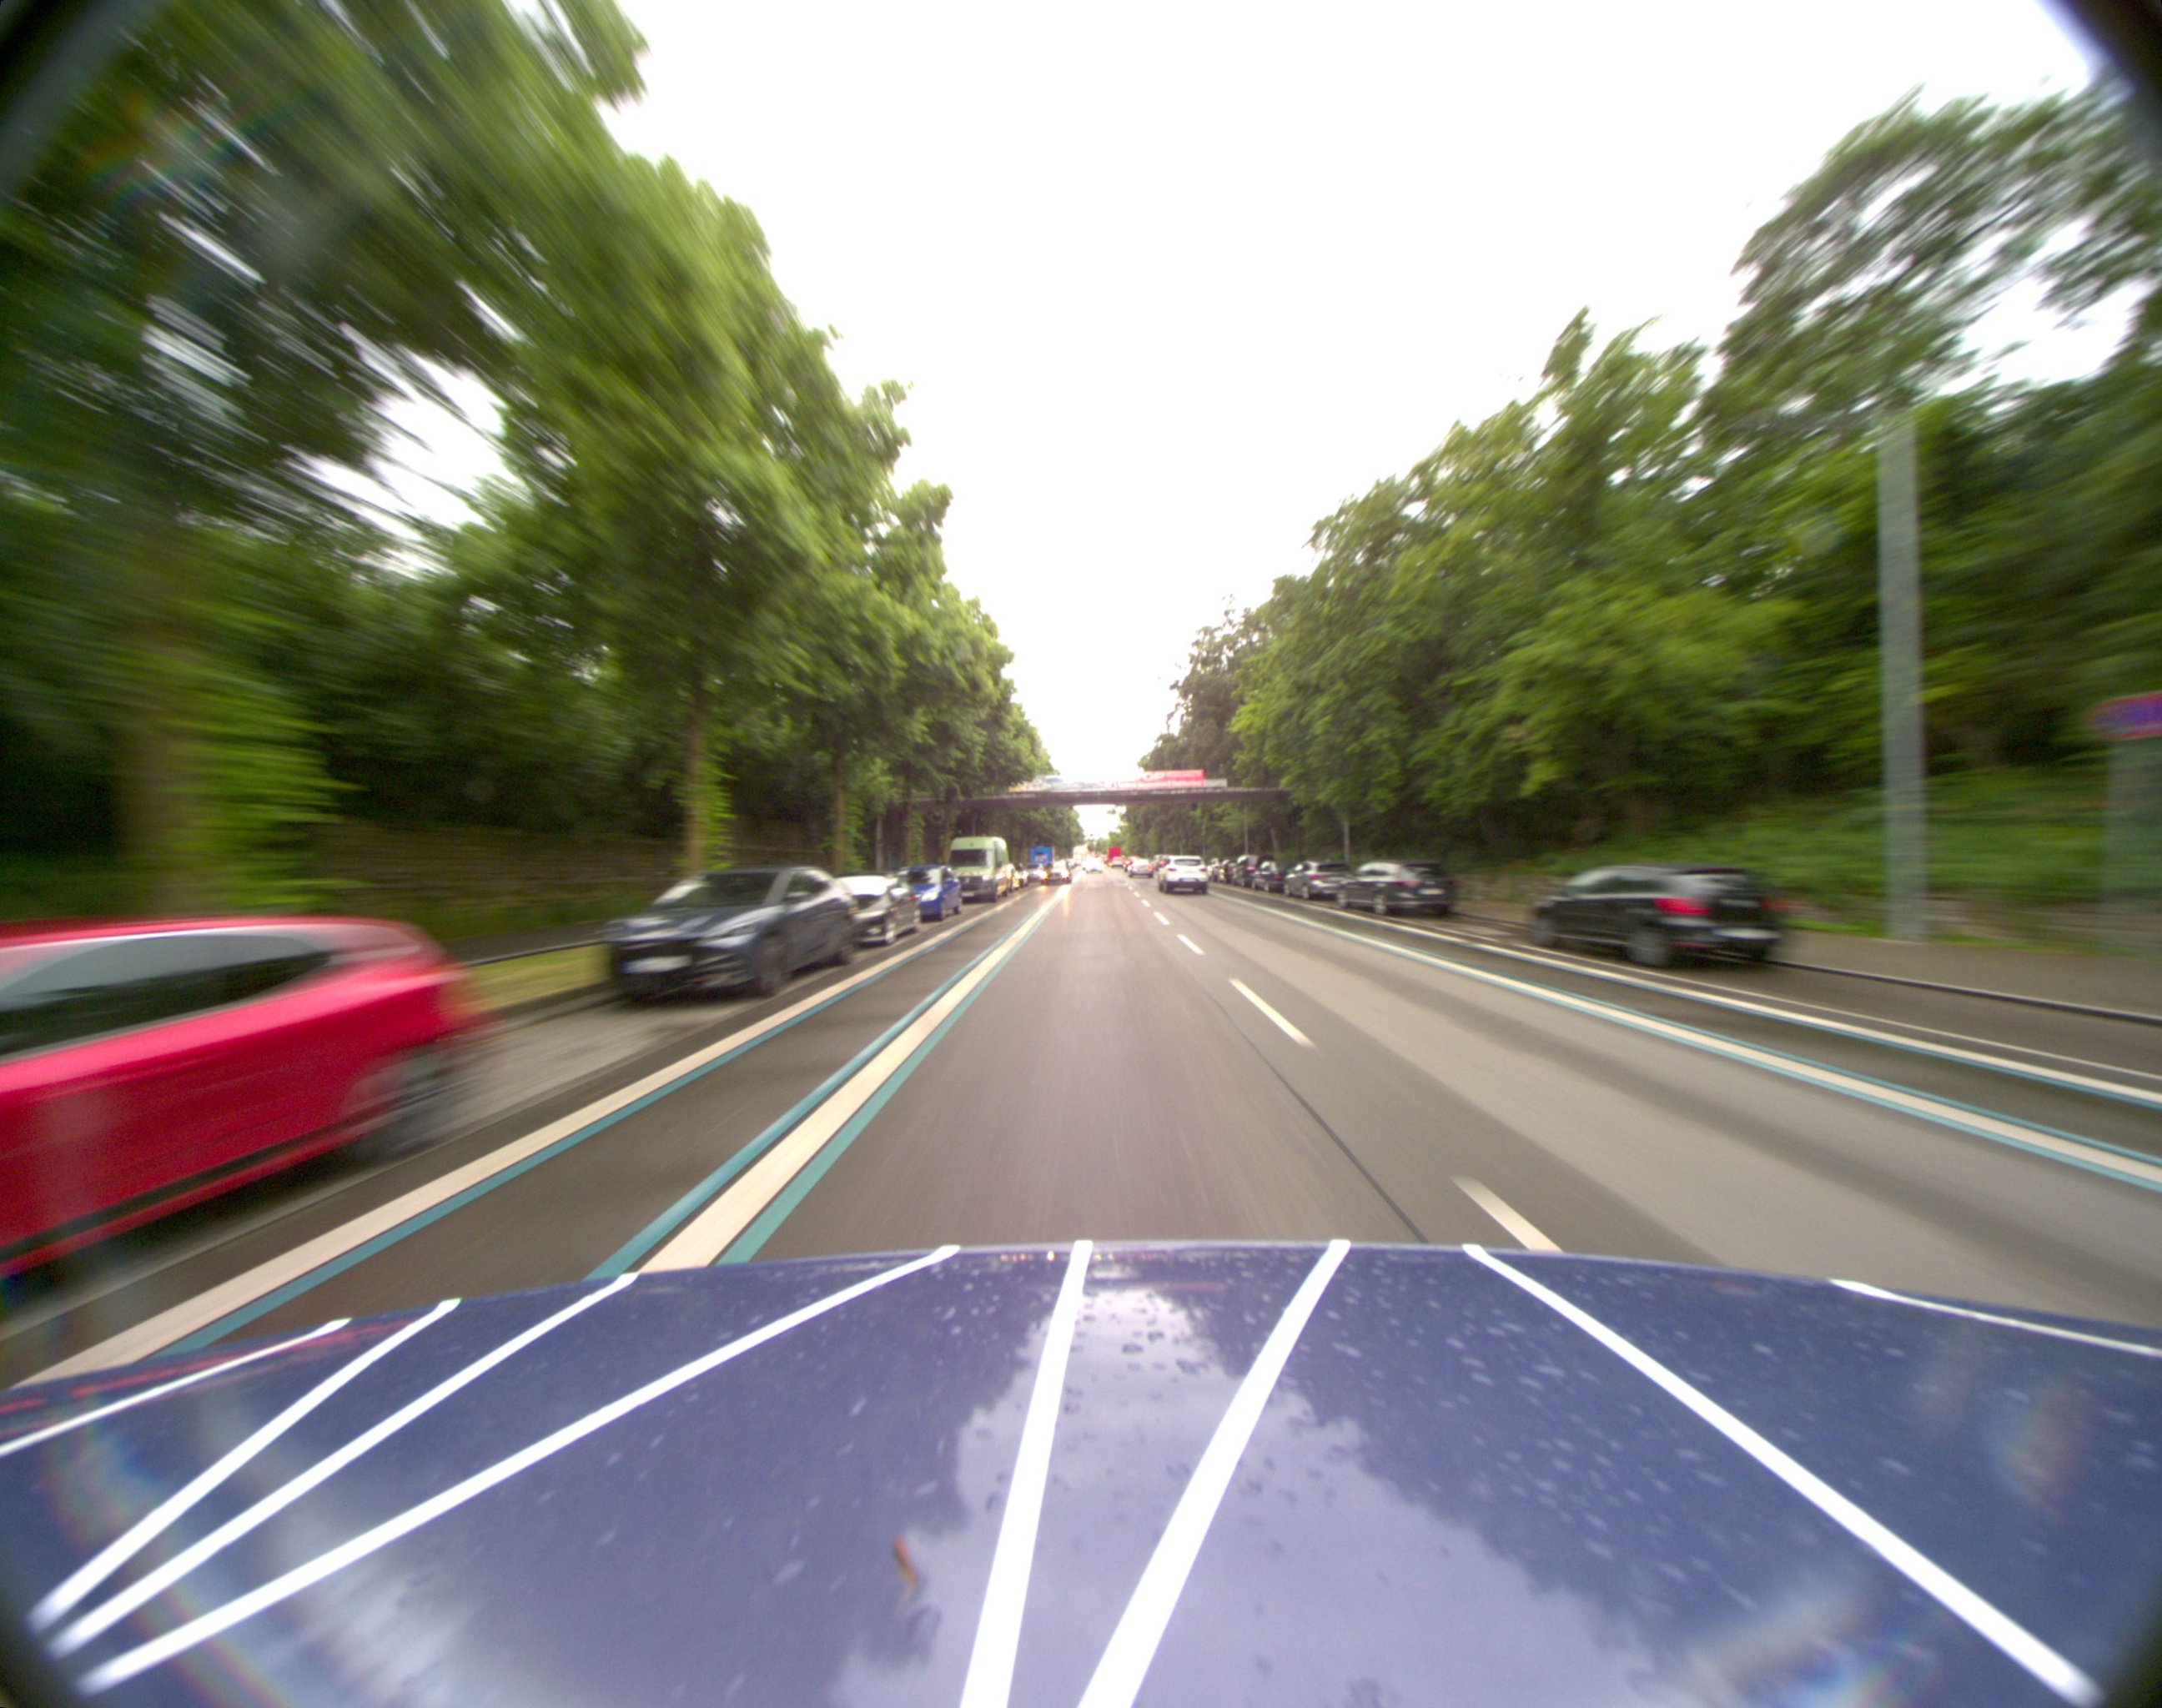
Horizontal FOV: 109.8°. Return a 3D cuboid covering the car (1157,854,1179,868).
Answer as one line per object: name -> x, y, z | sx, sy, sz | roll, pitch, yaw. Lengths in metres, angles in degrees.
car -> 10.081, 0.802, 88.269 | 2.015, 1.596, 4.780 | -1, 0, 0

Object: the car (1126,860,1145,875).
car -> 6.072, 1.454, 85.325 | 1.970, 1.618, 4.321 | -1, 0, 2

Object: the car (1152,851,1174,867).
car -> 10.442, 0.629, 97.282 | 1.979, 1.993, 5.017 | -2, 0, -3

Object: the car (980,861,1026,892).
car -> -3.916, 1.112, 38.726 | 1.690, 1.408, 4.100 | -2, 0, 2

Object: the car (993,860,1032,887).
car -> -3.915, 1.113, 43.985 | 1.690, 1.408, 4.197 | -2, 0, 2

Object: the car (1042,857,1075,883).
car -> -1.392, 0.971, 48.261 | 1.822, 1.499, 4.139 | -1, 0, 2

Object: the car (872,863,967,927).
car -> -4.409, 1.073, 21.357 | 1.690, 1.505, 3.835 | -3, 0, 1

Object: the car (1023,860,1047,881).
car -> -3.344, 1.179, 55.809 | 1.588, 1.345, 3.862 | -3, 0, -1

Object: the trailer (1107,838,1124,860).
trailer -> 6.823, -0.916, 152.554 | 2.694, 4.234, 12.768 | 1, 0, 0

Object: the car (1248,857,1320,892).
car -> 9.189, 0.897, 34.898 | 1.988, 1.464, 4.898 | -2, 0, 0

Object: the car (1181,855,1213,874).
car -> 9.292, 0.848, 60.984 | 1.836, 1.468, 4.040 | -1, 0, -2

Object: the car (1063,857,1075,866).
car -> -1.861, 1.180, 119.956 | 1.702, 1.445, 4.097 | -3, 0, 0

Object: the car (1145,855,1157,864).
car -> 11.274, 0.920, 122.204 | 1.694, 1.397, 4.028 | -2, 0, 2

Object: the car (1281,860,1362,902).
car -> 8.946, 0.957, 28.619 | 1.788, 1.415, 4.296 | -1, 0, 1

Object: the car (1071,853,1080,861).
car -> -1.146, 0.607, 155.948 | 1.700, 1.468, 3.997 | -1, 0, -1

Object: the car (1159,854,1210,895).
car -> 4.414, 0.841, 33.003 | 1.800, 1.642, 4.129 | 0, 0, 2

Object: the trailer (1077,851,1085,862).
trailer -> -0.021, 0.677, 185.504 | 1.988, 2.550, 3.999 | -2, 0, -1

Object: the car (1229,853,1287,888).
car -> 9.359, 0.834, 40.631 | 1.995, 1.731, 4.838 | -1, 0, 0

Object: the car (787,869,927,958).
car -> -4.431, 1.115, 15.705 | 1.690, 1.447, 4.145 | -3, 0, -2

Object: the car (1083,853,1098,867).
car -> 1.307, 0.808, 101.424 | 1.850, 1.719, 3.731 | -1, 0, 1

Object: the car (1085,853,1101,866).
car -> 1.626, 0.766, 100.211 | 1.998, 1.629, 4.000 | -1, 0, 2

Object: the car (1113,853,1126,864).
car -> 5.998, 0.714, 119.351 | 1.838, 1.656, 4.180 | 1, 0, 1

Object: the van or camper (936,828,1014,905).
van or camper -> -4.145, 0.472, 31.096 | 2.047, 2.713, 6.900 | -3, 0, 0

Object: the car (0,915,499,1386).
car -> -4.580, 1.142, 2.723 | 1.690, 1.444, 4.165 | -3, 0, 0

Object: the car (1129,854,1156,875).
car -> 4.841, 0.790, 60.469 | 1.926, 1.551, 4.621 | 0, 0, 1

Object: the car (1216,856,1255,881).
car -> 9.299, 0.877, 45.999 | 1.613, 1.430, 3.844 | -1, 0, 1

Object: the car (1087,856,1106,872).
car -> 1.677, 1.076, 81.209 | 1.998, 1.588, 4.000 | -2, 0, 1

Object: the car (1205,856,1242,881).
car -> 9.409, 0.932, 50.472 | 1.692, 1.537, 4.233 | -1, 0, 0

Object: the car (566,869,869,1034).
car -> -4.460, 1.072, 10.253 | 1.760, 1.580, 4.499 | -3, 0, 1

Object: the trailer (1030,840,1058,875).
trailer -> -2.987, 0.282, 62.712 | 1.957, 2.742, 4.007 | -2, 0, 1

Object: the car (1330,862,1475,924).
car -> 8.698, 0.976, 21.069 | 1.961, 1.454, 4.756 | -1, 0, -1

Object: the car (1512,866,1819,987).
car -> 8.615, 0.959, 11.718 | 1.675, 1.449, 3.993 | -1, 0, 0
